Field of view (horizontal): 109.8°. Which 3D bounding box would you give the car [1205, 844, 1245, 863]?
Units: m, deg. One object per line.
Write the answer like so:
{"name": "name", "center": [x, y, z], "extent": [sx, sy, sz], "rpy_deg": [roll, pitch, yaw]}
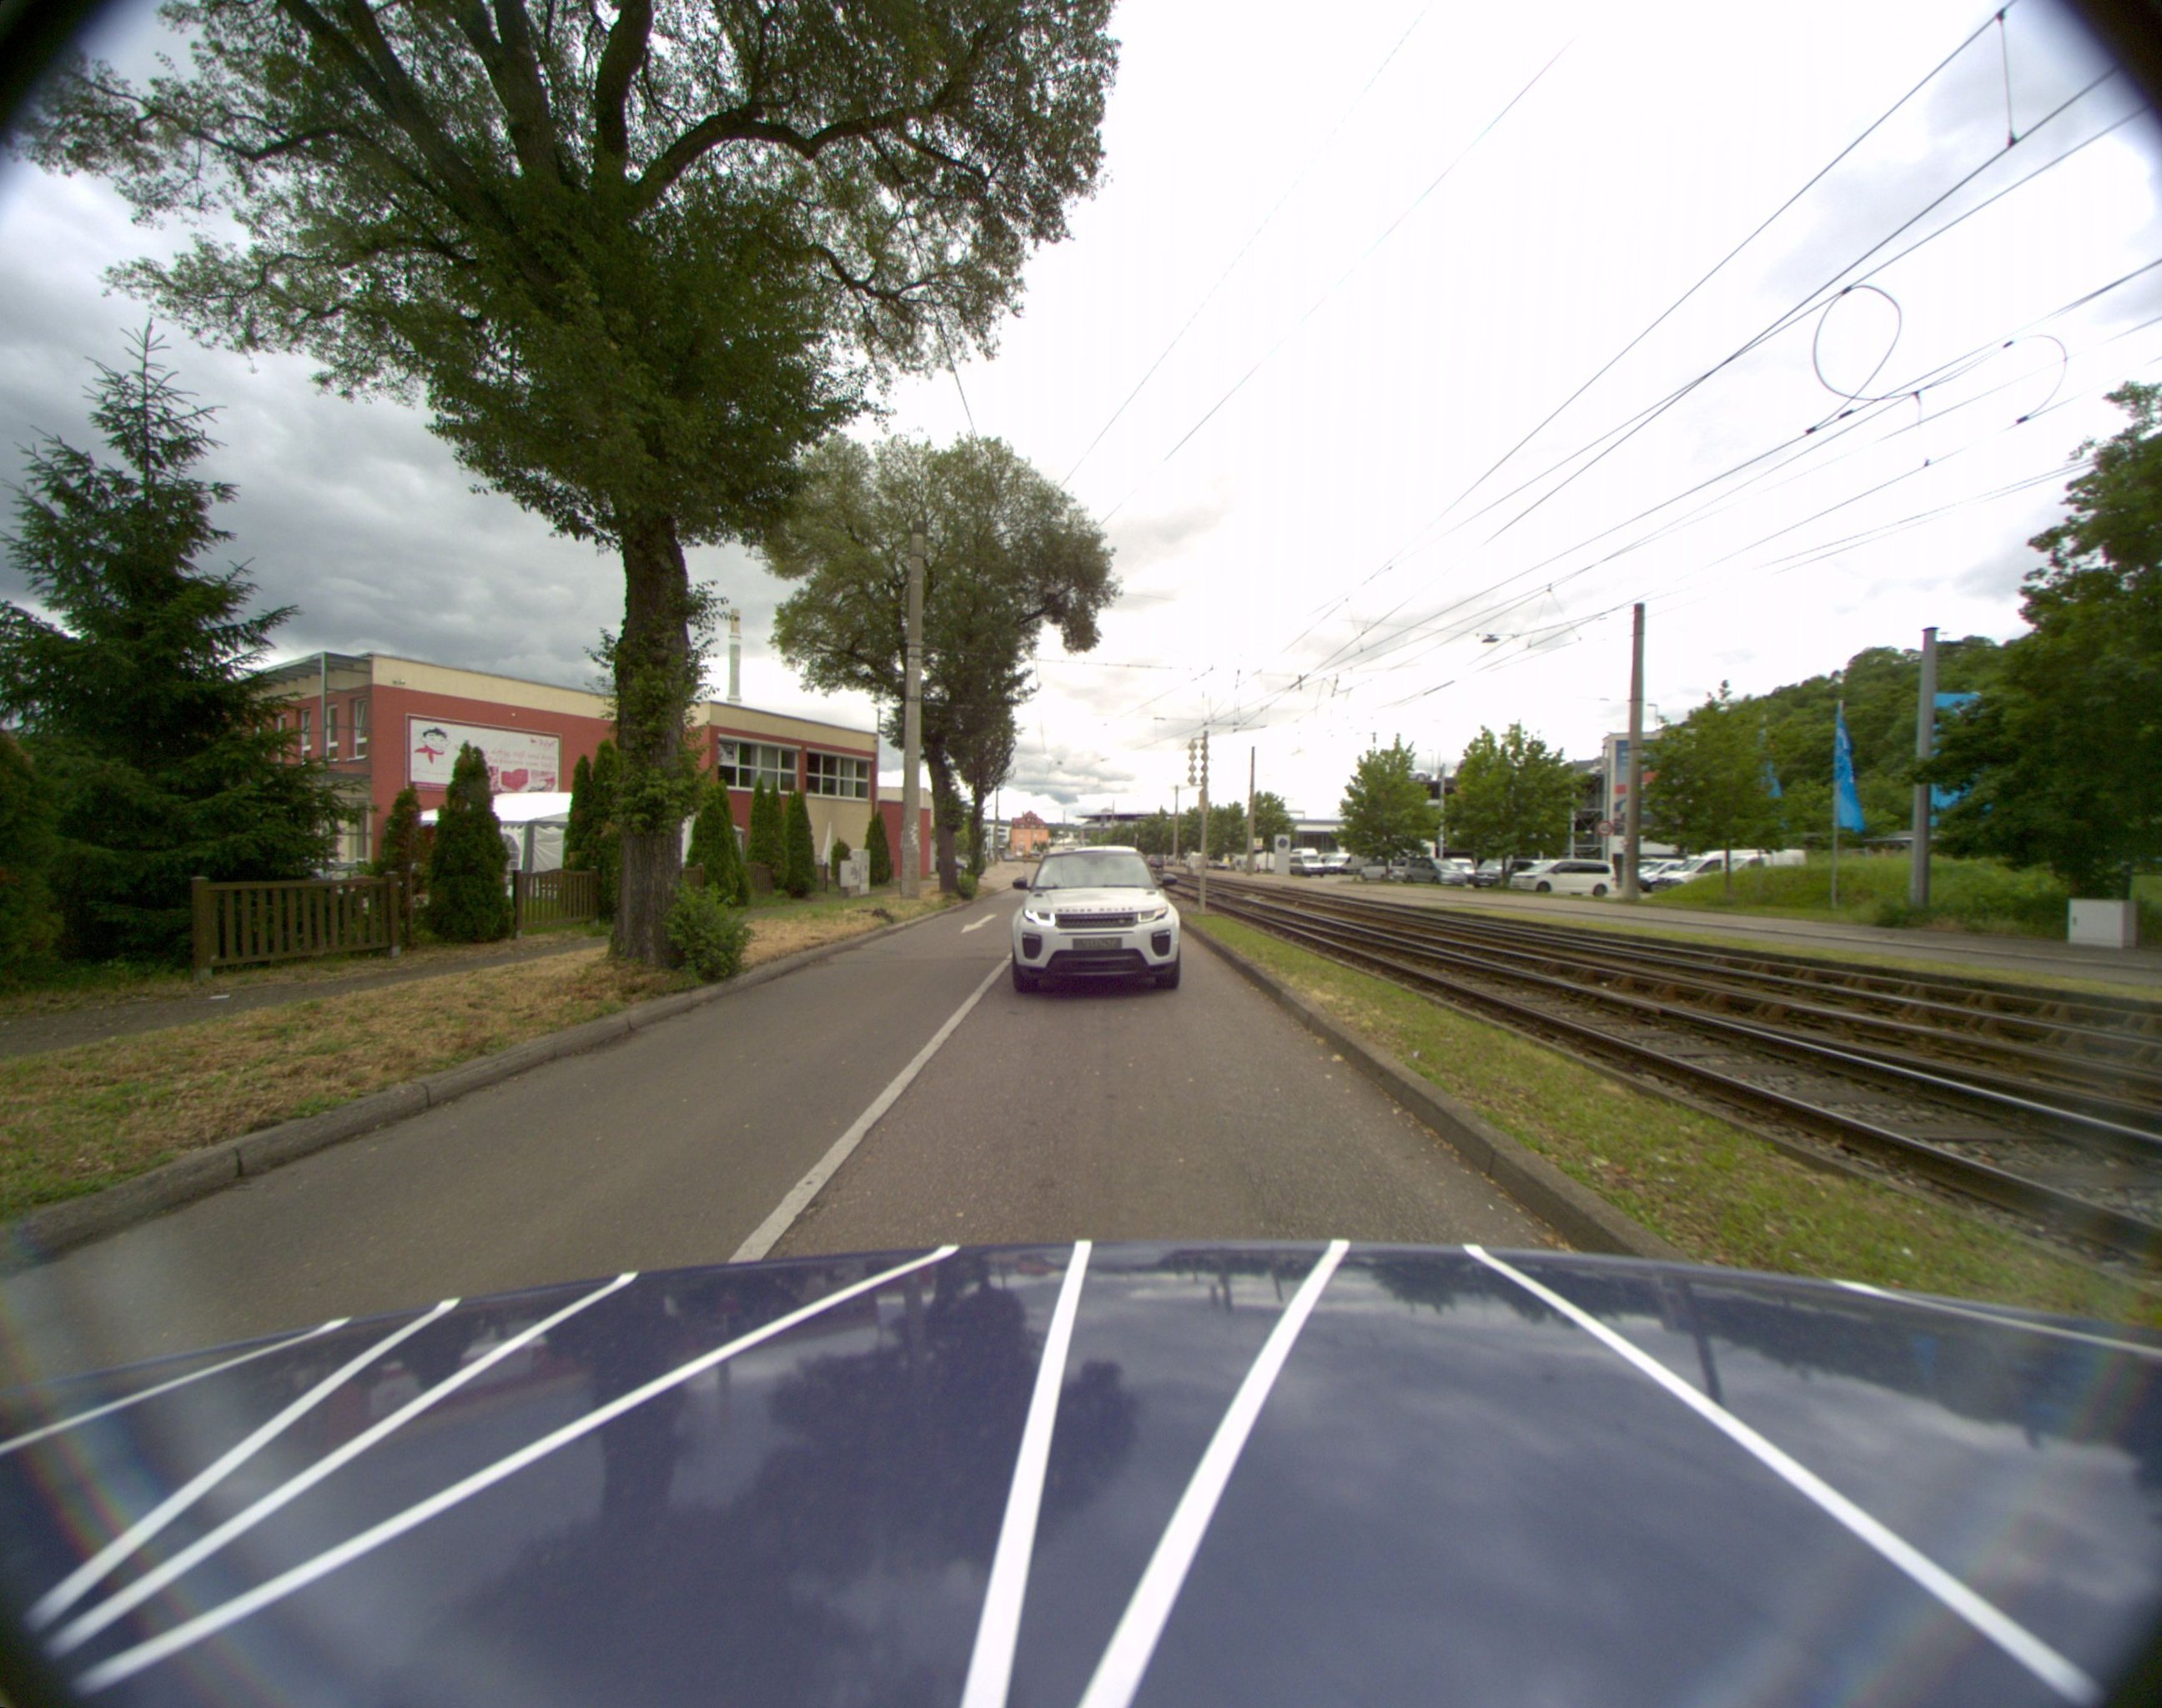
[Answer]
{"name": "car", "center": [18.597, -0.087, 98.176], "extent": [4.639, 2.196, 2.107], "rpy_deg": [-2, 1, -7]}

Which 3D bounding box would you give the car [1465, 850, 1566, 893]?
{"name": "car", "center": [25.194, 0.997, 44.167], "extent": [4.773, 2.254, 1.979], "rpy_deg": [-2, 1, -2]}

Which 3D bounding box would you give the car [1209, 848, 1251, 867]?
{"name": "car", "center": [18.778, 0.385, 95.740], "extent": [4.639, 2.196, 2.107], "rpy_deg": [-2, 1, -7]}

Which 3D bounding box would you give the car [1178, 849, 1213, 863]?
{"name": "car", "center": [17.014, 0.330, 112.676], "extent": [4.639, 1.829, 2.107], "rpy_deg": [-2, 1, -7]}

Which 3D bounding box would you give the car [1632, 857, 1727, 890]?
{"name": "car", "center": [37.208, 1.208, 47.346], "extent": [4.228, 1.826, 1.983], "rpy_deg": [-2, 1, 20]}

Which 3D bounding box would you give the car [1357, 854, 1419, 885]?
{"name": "car", "center": [22.779, 1.101, 56.622], "extent": [2.142, 2.104, 4.772], "rpy_deg": [-2, 1, -8]}

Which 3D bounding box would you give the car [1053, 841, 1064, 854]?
{"name": "car", "center": [-5.477, -1.603, 185.139], "extent": [2.410, 2.931, 4.747], "rpy_deg": [-2, 1, -2]}

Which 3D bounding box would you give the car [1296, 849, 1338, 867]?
{"name": "car", "center": [30.217, 0.507, 97.467], "extent": [4.636, 2.196, 2.108], "rpy_deg": [-2, 1, 0]}

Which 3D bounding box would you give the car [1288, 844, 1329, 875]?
{"name": "car", "center": [23.290, 0.506, 78.108], "extent": [2.320, 2.994, 6.157], "rpy_deg": [-2, 1, 0]}

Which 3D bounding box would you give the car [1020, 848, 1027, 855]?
{"name": "car", "center": [-17.938, -0.873, 235.801], "extent": [1.999, 2.002, 3.997], "rpy_deg": [-2, 1, -6]}

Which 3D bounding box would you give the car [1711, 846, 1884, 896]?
{"name": "car", "center": [35.119, 0.857, 37.509], "extent": [5.850, 2.254, 2.056], "rpy_deg": [-2, 1, 23]}

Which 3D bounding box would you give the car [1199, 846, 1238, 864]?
{"name": "car", "center": [18.206, 0.087, 100.966], "extent": [4.639, 2.196, 2.107], "rpy_deg": [-2, 1, -7]}

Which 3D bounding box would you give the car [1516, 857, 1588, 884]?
{"name": "car", "center": [35.054, 1.199, 56.701], "extent": [4.228, 1.826, 1.983], "rpy_deg": [-2, 1, 20]}

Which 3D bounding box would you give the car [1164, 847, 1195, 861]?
{"name": "car", "center": [16.158, 0.013, 125.080], "extent": [4.639, 2.196, 2.107], "rpy_deg": [-2, 1, -7]}

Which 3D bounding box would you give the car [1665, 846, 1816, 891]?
{"name": "car", "center": [35.606, 0.789, 41.267], "extent": [5.839, 2.254, 2.056], "rpy_deg": [-2, 1, 23]}

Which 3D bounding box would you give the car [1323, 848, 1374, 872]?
{"name": "car", "center": [31.326, 0.664, 88.989], "extent": [6.057, 2.608, 2.316], "rpy_deg": [-3, 1, -33]}

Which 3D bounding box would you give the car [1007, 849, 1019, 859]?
{"name": "car", "center": [-12.573, -0.013, 141.033], "extent": [1.906, 1.708, 4.133], "rpy_deg": [5, 1, -4]}

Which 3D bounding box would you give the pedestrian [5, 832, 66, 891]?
{"name": "pedestrian", "center": [-32.047, 0.234, 23.296], "extent": [0.867, 1.751, 0.599], "rpy_deg": [-3, 2, -31]}

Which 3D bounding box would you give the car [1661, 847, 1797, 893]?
{"name": "car", "center": [37.532, 0.928, 44.195], "extent": [5.652, 2.446, 1.983], "rpy_deg": [-2, 1, 20]}

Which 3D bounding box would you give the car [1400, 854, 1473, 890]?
{"name": "car", "center": [23.455, 1.146, 50.371], "extent": [2.142, 2.104, 4.773], "rpy_deg": [-2, 1, -6]}

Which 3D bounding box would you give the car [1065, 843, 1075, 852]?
{"name": "car", "center": [-2.600, -1.516, 183.314], "extent": [1.999, 2.002, 3.997], "rpy_deg": [-2, 1, -6]}

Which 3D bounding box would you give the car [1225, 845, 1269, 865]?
{"name": "car", "center": [19.767, 0.154, 90.637], "extent": [4.639, 2.196, 2.107], "rpy_deg": [-2, 1, -7]}

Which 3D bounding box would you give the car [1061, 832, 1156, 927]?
{"name": "car", "center": [0.667, 0.525, 18.608], "extent": [1.998, 1.990, 5.034], "rpy_deg": [0, 0, 2]}

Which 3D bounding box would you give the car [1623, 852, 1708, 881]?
{"name": "car", "center": [40.482, 0.897, 52.719], "extent": [4.228, 1.826, 1.983], "rpy_deg": [-2, 1, 20]}

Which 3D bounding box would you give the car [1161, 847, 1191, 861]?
{"name": "car", "center": [15.908, -0.010, 127.518], "extent": [4.639, 2.196, 2.107], "rpy_deg": [-2, 1, -7]}

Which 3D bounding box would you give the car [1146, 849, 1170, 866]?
{"name": "car", "center": [9.084, 0.436, 89.934], "extent": [1.906, 1.708, 4.133], "rpy_deg": [5, 1, -4]}

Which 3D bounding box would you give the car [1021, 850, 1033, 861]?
{"name": "car", "center": [-8.763, 0.191, 124.272], "extent": [1.869, 1.740, 3.998], "rpy_deg": [-2, 1, -4]}

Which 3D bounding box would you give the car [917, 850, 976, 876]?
{"name": "car", "center": [-9.606, 0.625, 54.551], "extent": [3.999, 1.636, 1.895], "rpy_deg": [-2, 1, -5]}

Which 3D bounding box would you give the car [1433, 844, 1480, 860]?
{"name": "car", "center": [47.422, -0.303, 96.049], "extent": [5.216, 1.826, 1.983], "rpy_deg": [-2, 1, 22]}

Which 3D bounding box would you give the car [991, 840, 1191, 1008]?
{"name": "car", "center": [0.123, 0.687, 9.743], "extent": [1.998, 1.680, 4.268], "rpy_deg": [0, 0, 1]}

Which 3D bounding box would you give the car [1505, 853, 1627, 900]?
{"name": "car", "center": [25.763, 1.169, 40.485], "extent": [5.269, 2.254, 1.999], "rpy_deg": [-2, 1, -2]}

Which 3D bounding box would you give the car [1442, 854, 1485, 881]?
{"name": "car", "center": [29.558, 1.034, 58.853], "extent": [1.900, 1.882, 4.600], "rpy_deg": [-2, 1, 12]}

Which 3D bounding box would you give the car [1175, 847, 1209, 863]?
{"name": "car", "center": [16.837, 0.121, 115.074], "extent": [4.639, 2.196, 2.107], "rpy_deg": [-2, 1, -7]}
